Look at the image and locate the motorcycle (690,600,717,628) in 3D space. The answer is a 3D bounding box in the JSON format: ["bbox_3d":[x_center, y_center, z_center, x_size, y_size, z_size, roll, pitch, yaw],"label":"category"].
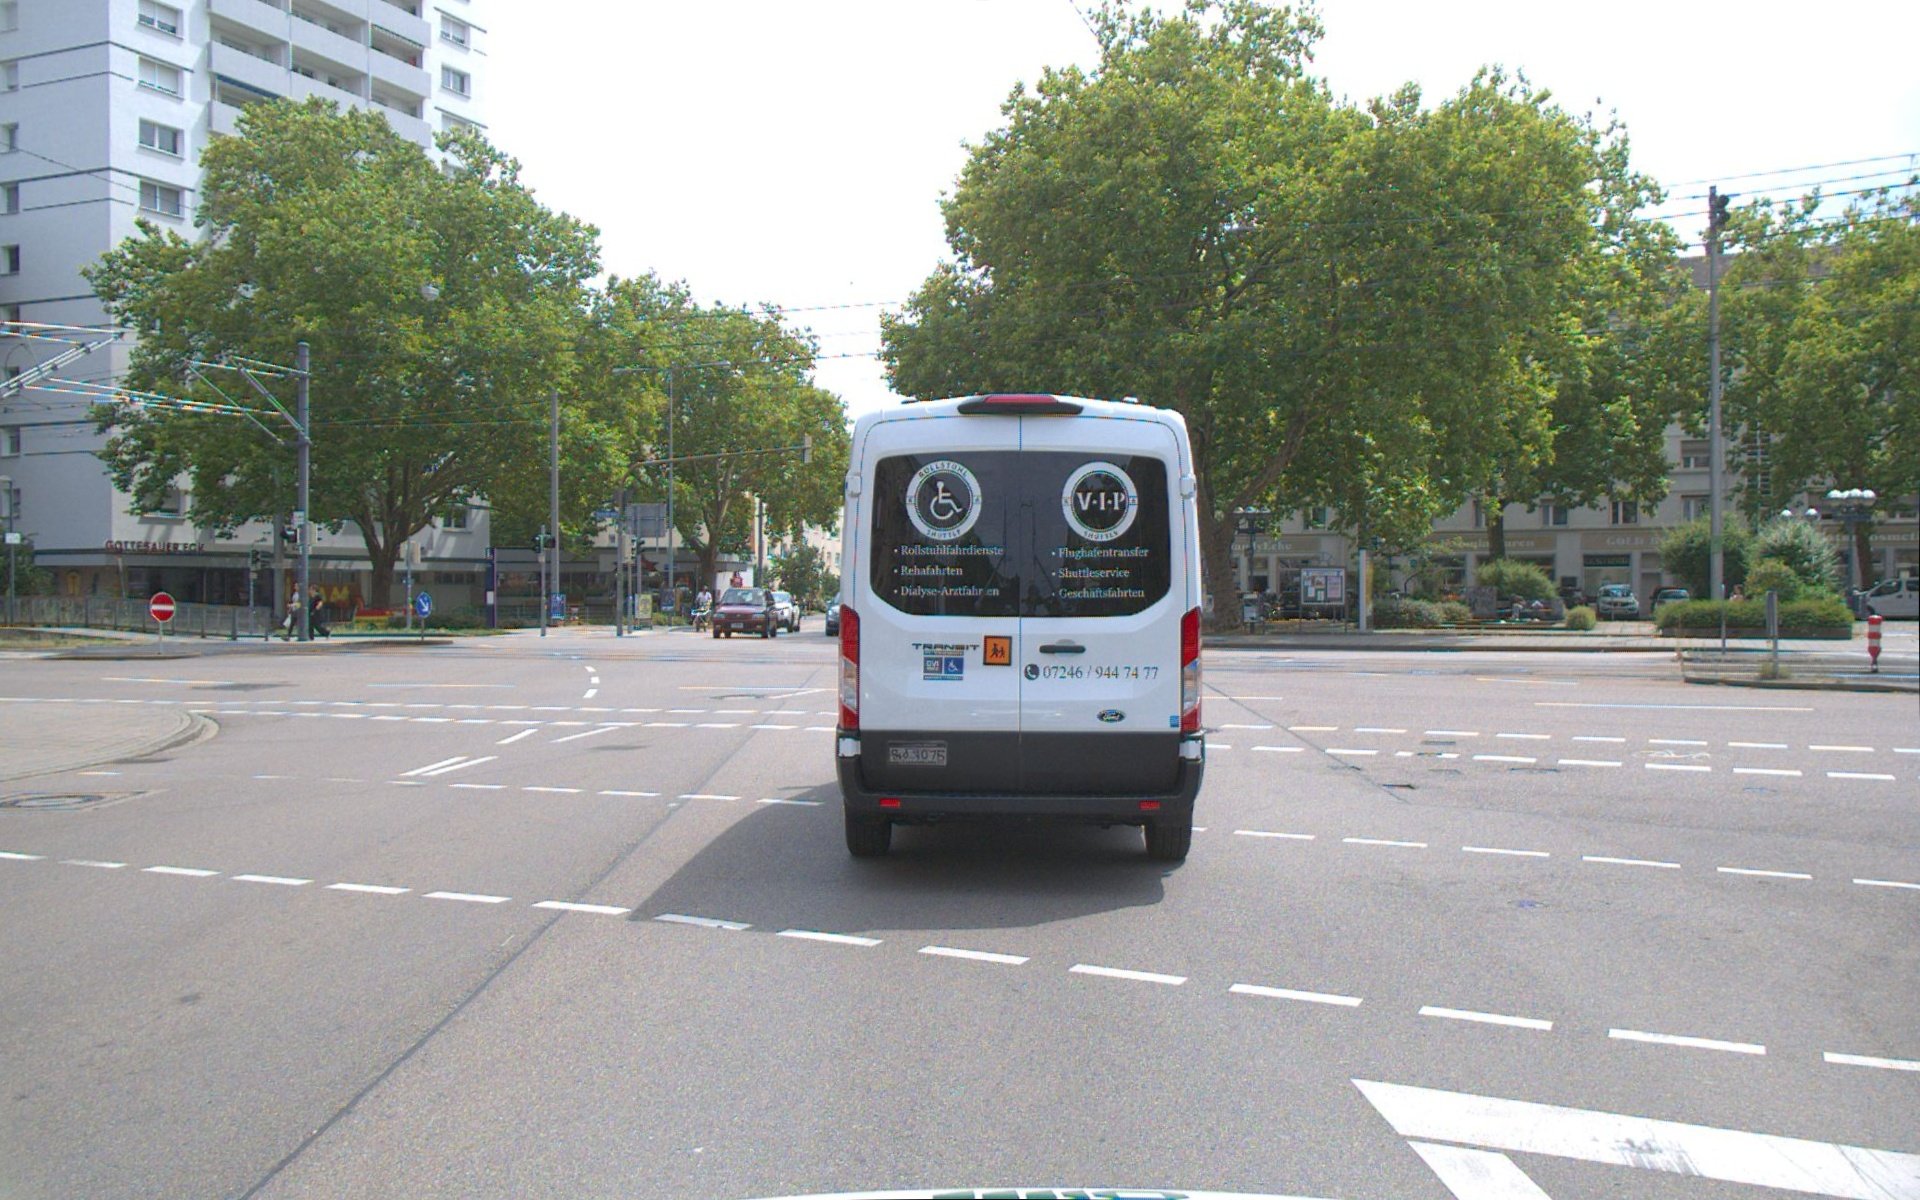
[{"bbox_3d":[-9.609,0.517,61.987,0.669,0.988,2.323,-1,0,-1],"label":"motorcycle"}]

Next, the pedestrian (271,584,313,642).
[{"bbox_3d":[-18.519,0.361,45.843,0.791,1.600,0.723,0,0,26],"label":"pedestrian"}]

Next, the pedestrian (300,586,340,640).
[{"bbox_3d":[-18.352,0.374,47.444,0.915,1.541,0.720,0,0,39],"label":"pedestrian"}]

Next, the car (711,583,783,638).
[{"bbox_3d":[-6.271,0.286,49.112,1.559,1.534,3.808,-1,0,1],"label":"car"}]

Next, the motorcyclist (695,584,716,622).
[{"bbox_3d":[-9.622,0.114,62.553,0.669,1.420,0.681,-1,0,-1],"label":"motorcyclist"}]

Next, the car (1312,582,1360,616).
[{"bbox_3d":[19.421,-0.054,85.574,1.767,1.713,4.002,-1,0,4],"label":"car"}]

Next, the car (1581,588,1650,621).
[{"bbox_3d":[31.645,0.203,79.903,1.952,1.529,4.002,-1,0,4],"label":"car"}]

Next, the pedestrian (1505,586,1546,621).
[{"bbox_3d":[21.154,0.121,61.934,1.068,1.257,1.441,-2,-1,4],"label":"pedestrian"}]

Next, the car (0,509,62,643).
[{"bbox_3d":[-32.855,-0.703,51.500,9.686,3.984,3.454,0,0,24],"label":"car"}]

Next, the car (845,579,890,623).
[{"bbox_3d":[-4.307,0.035,77.491,1.707,1.964,4.854,-1,0,1],"label":"car"}]

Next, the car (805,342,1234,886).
[{"bbox_3d":[0.219,0.021,10.548,2.138,2.694,4.626,0,1,-2],"label":"car"}]

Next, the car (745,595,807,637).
[{"bbox_3d":[-6.688,0.551,60.544,1.707,1.452,4.033,-1,0,1],"label":"car"}]

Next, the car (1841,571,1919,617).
[{"bbox_3d":[39.826,-0.271,70.462,3.906,1.916,1.857,-1,0,24],"label":"car"}]

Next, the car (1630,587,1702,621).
[{"bbox_3d":[33.853,0.181,79.439,1.952,1.545,4.002,-1,0,4],"label":"car"}]

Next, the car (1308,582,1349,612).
[{"bbox_3d":[21.394,-0.191,95.855,1.767,1.713,4.001,0,0,21],"label":"car"}]

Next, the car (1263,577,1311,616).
[{"bbox_3d":[16.968,-0.209,86.021,1.952,1.964,4.002,-1,0,4],"label":"car"}]

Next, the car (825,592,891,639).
[{"bbox_3d":[-3.244,0.471,53.278,1.794,1.452,4.121,-1,0,1],"label":"car"}]
